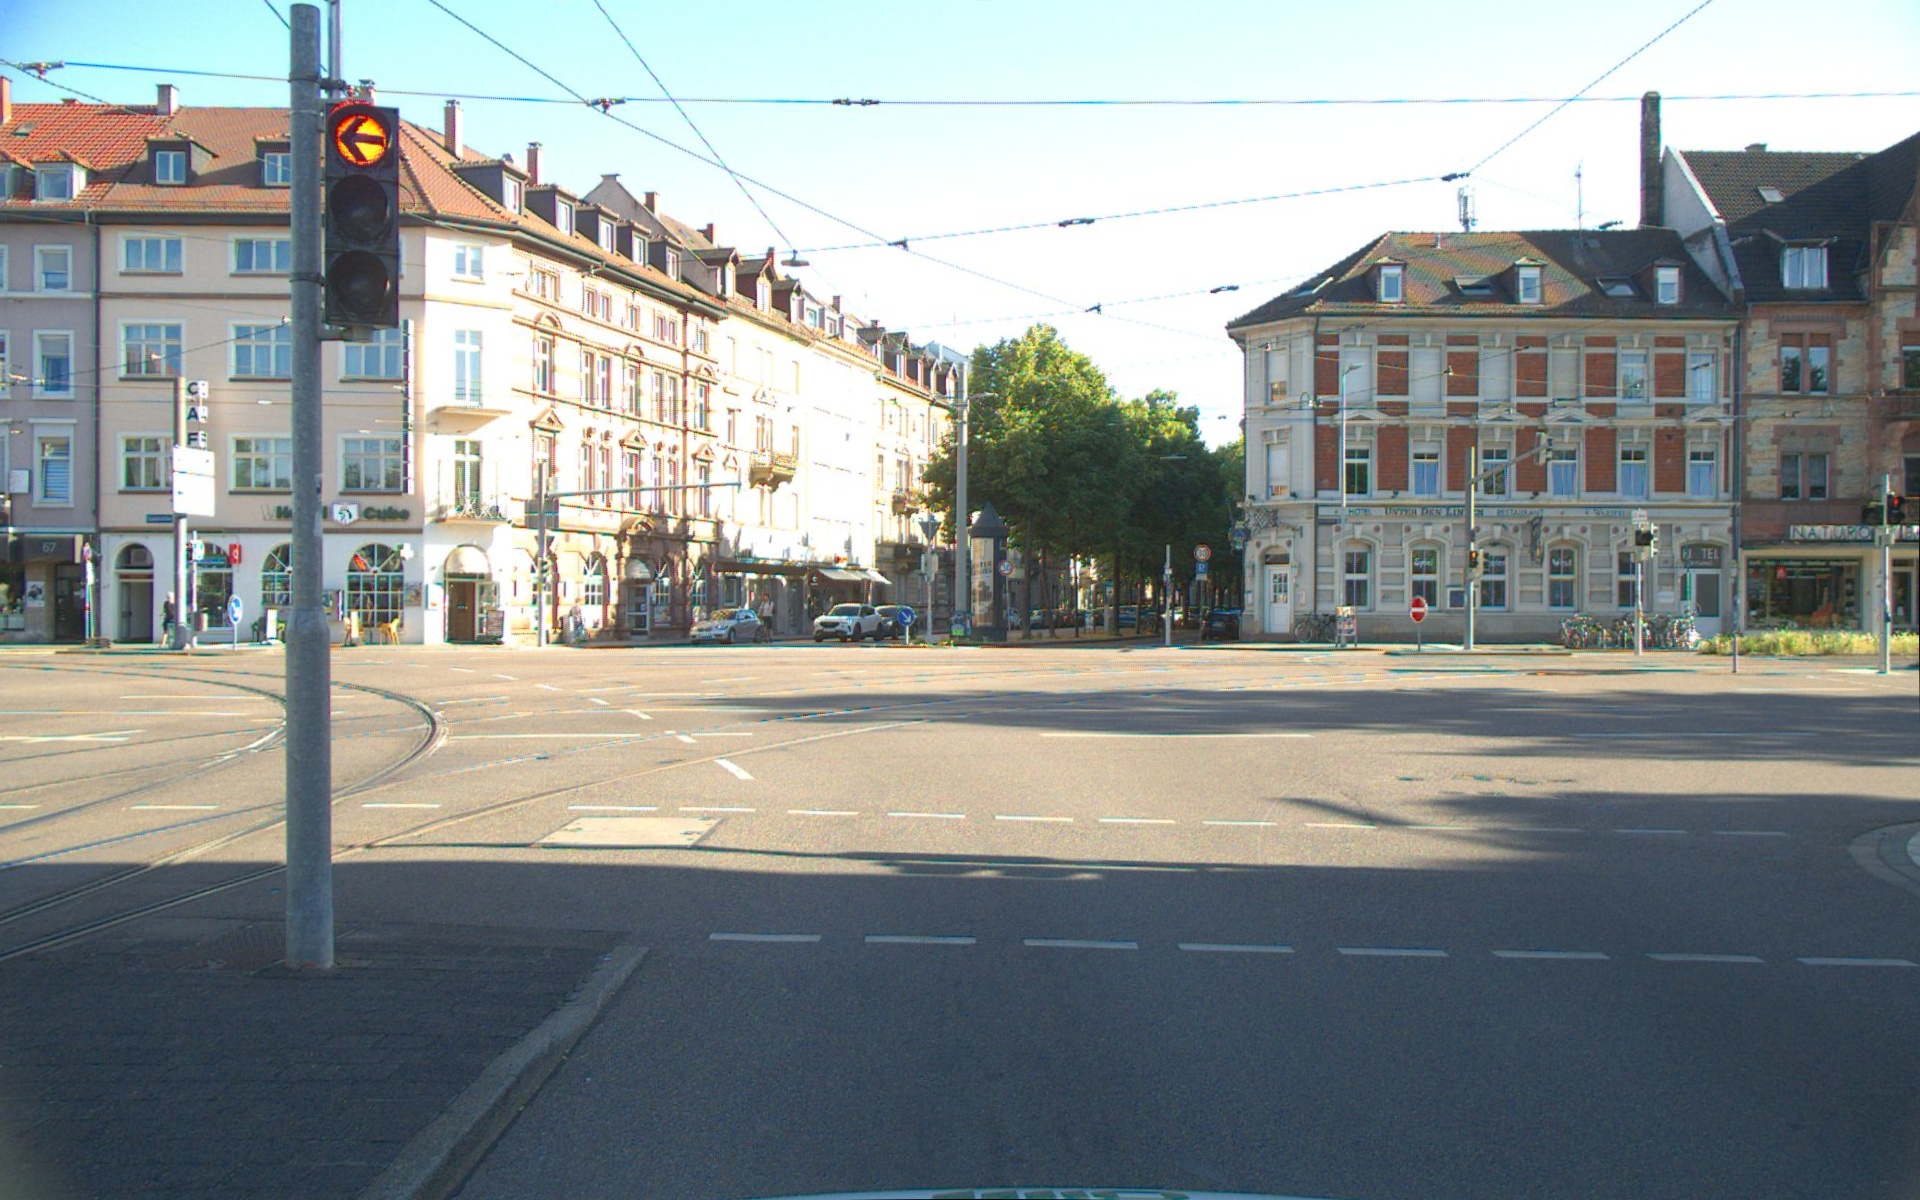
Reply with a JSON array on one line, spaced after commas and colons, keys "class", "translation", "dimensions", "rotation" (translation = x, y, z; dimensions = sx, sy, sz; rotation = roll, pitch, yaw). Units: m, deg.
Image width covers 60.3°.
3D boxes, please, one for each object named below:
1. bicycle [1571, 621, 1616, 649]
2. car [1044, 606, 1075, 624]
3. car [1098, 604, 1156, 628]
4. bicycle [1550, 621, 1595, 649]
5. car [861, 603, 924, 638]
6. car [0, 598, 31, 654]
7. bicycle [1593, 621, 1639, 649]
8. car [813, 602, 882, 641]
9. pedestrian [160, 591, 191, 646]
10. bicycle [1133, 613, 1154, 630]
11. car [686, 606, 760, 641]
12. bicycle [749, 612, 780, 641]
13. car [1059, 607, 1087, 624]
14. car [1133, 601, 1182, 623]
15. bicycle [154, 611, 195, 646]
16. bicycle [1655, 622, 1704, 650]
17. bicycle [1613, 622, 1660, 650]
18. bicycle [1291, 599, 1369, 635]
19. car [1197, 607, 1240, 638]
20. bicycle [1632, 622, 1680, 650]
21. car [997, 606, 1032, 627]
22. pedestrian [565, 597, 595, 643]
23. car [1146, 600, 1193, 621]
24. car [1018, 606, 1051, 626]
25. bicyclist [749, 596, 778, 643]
[{"class": "bicycle", "translation": [20.474, 1.121, 53.461], "dimensions": [0.645, 0.855, 2.160], "rotation": [1, 0, 0]}, {"class": "car", "translation": [7.885, 1.207, 130.850], "dimensions": [1.642, 1.378, 3.593], "rotation": [0, 0, 16]}, {"class": "car", "translation": [11.707, 1.110, 115.840], "dimensions": [3.819, 1.677, 1.684], "rotation": [0, 0, 16]}, {"class": "bicycle", "translation": [19.755, 1.108, 53.373], "dimensions": [0.645, 0.855, 2.160], "rotation": [1, 0, 0]}, {"class": "car", "translation": [-2.955, 0.883, 73.557], "dimensions": [1.642, 1.509, 3.950], "rotation": [0, 0, 16]}, {"class": "car", "translation": [-32.158, 0.784, 52.262], "dimensions": [4.276, 1.741, 2.306], "rotation": [1, 0, 1]}, {"class": "bicycle", "translation": [21.186, 1.133, 53.474], "dimensions": [0.645, 0.855, 2.160], "rotation": [1, 0, 0]}, {"class": "car", "translation": [-4.542, 0.839, 67.232], "dimensions": [1.642, 1.509, 3.774], "rotation": [0, 0, 16]}, {"class": "pedestrian", "translation": [-24.654, 0.587, 51.969], "dimensions": [0.570, 1.699, 0.752], "rotation": [1, -1, -1]}, {"class": "bicycle", "translation": [11.045, 1.291, 99.633], "dimensions": [0.625, 1.039, 1.840], "rotation": [1, 0, -14]}, {"class": "car", "translation": [-9.547, 0.929, 66.751], "dimensions": [1.642, 1.378, 3.593], "rotation": [0, 0, 16]}, {"class": "bicycle", "translation": [-7.687, 1.043, 65.132], "dimensions": [0.687, 1.137, 1.636], "rotation": [1, 0, 13]}, {"class": "car", "translation": [9.310, 1.243, 135.901], "dimensions": [1.642, 1.378, 3.593], "rotation": [0, 0, 16]}, {"class": "car", "translation": [15.312, 0.953, 128.253], "dimensions": [3.503, 1.677, 1.684], "rotation": [0, 0, 16]}, {"class": "bicycle", "translation": [-24.659, 0.885, 51.935], "dimensions": [0.561, 1.096, 1.497], "rotation": [1, 0, -1]}, {"class": "bicycle", "translation": [23.273, 1.169, 53.533], "dimensions": [0.645, 0.855, 2.160], "rotation": [1, 0, 0]}, {"class": "bicycle", "translation": [21.857, 1.145, 53.508], "dimensions": [0.645, 0.855, 2.160], "rotation": [1, 0, 0]}, {"class": "bicycle", "translation": [12.860, 0.588, 57.463], "dimensions": [2.504, 1.194, 0.818], "rotation": [1, -1, -4]}, {"class": "car", "translation": [12.952, 1.103, 82.755], "dimensions": [1.642, 1.509, 3.950], "rotation": [0, 0, 16]}, {"class": "bicycle", "translation": [22.484, 1.155, 53.487], "dimensions": [0.645, 0.855, 2.160], "rotation": [1, 0, 0]}, {"class": "car", "translation": [3.815, 1.152, 115.520], "dimensions": [1.642, 1.378, 3.593], "rotation": [0, 0, 16]}, {"class": "pedestrian", "translation": [-14.126, 0.748, 61.478], "dimensions": [0.759, 1.699, 0.831], "rotation": [1, -1, 15]}, {"class": "car", "translation": [16.935, 0.879, 133.752], "dimensions": [3.503, 1.677, 1.684], "rotation": [0, 0, 16]}, {"class": "car", "translation": [5.526, 1.184, 122.508], "dimensions": [1.642, 1.378, 3.593], "rotation": [0, 0, 16]}, {"class": "bicyclist", "translation": [-7.721, 0.762, 65.010], "dimensions": [0.761, 1.834, 1.056], "rotation": [1, -1, 13]}]
